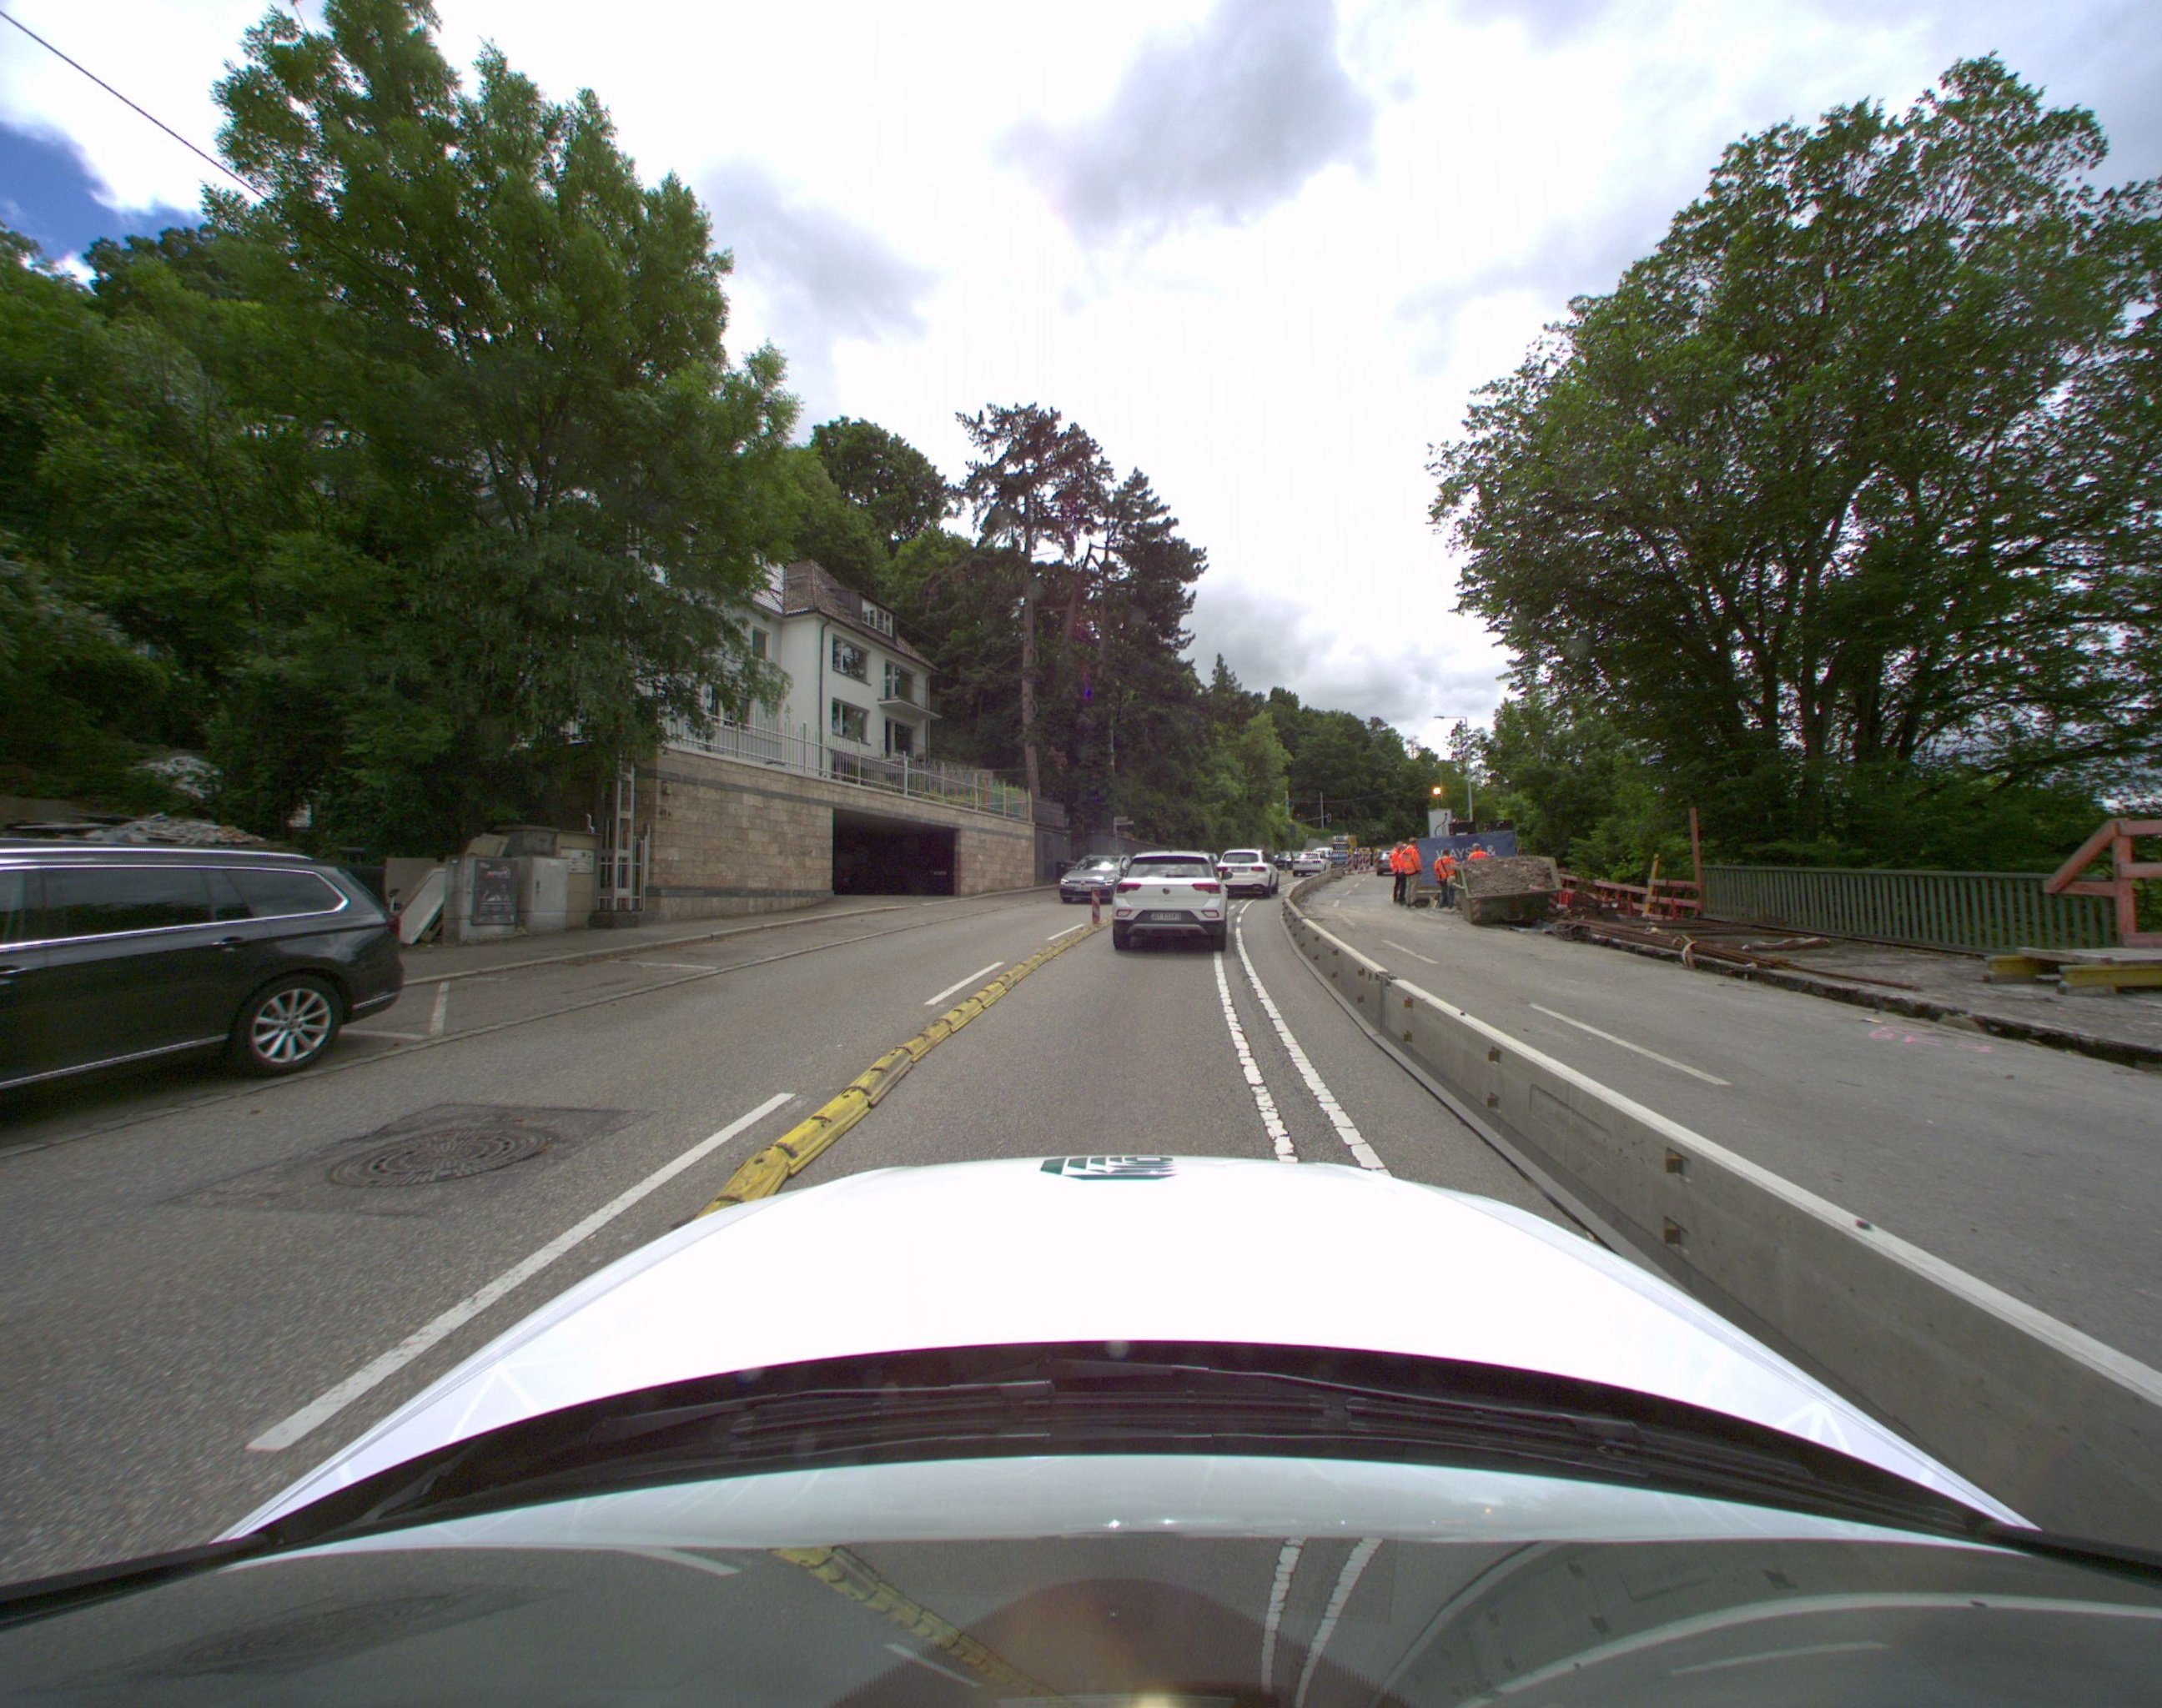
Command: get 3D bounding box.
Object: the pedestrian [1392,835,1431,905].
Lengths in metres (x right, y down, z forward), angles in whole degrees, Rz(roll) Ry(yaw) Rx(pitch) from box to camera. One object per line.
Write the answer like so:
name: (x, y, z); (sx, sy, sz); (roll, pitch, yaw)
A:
pedestrian: (9.155, 0.442, 22.596); (0.689, 1.906, 0.824); (-1, 0, -3)

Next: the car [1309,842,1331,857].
car: (24.567, -0.481, 83.736); (1.752, 1.452, 4.331); (1, 0, 21)

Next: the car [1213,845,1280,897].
car: (5.807, 0.547, 28.306); (1.795, 1.663, 4.019); (-1, 0, 18)

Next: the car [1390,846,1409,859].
car: (33.221, -0.146, 84.906); (1.779, 1.368, 4.021); (-1, 0, 22)

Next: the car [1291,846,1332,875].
car: (13.821, 0.356, 48.728); (1.794, 1.663, 4.022); (-1, 0, 23)

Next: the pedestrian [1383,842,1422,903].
pedestrian: (9.361, 0.534, 23.722); (0.871, 1.731, 0.880); (-1, 0, 9)

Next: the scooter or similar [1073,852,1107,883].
scooter or similar: (0.352, 0.537, 32.528); (1.306, 1.255, 0.466); (0, 0, -6)

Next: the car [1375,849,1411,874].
car: (17.905, 0.428, 46.642); (1.778, 1.368, 4.022); (-1, 0, 23)

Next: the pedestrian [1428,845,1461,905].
pedestrian: (10.055, 0.574, 22.520); (0.775, 1.608, 0.671); (-1, 0, 25)

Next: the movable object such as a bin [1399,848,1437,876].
movable object such as a bin: (17.631, 0.407, 42.684); (1.387, 1.425, 1.910); (0, 0, 6)

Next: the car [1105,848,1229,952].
car: (1.614, 0.675, 14.026); (1.798, 1.531, 4.011); (-1, 0, 10)

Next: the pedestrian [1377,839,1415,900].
pedestrian: (9.551, 0.470, 24.714); (0.871, 1.822, 0.880); (-1, 0, 9)

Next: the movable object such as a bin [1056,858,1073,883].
movable object such as a bin: (-0.685, 0.678, 33.456); (0.544, 0.977, 0.512); (-1, -1, 22)

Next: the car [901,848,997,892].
car: (-4.634, 0.603, 29.168); (1.767, 1.453, 3.720); (0, -2, 20)

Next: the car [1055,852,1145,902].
car: (0.703, 0.664, 25.677); (1.754, 1.435, 4.327); (-1, 0, 16)

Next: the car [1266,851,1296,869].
car: (16.466, 0.470, 66.820); (1.752, 1.452, 4.332); (1, 0, 23)

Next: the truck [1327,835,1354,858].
truck: (38.081, -1.069, 119.403); (2.878, 3.155, 7.626); (-1, -1, 24)

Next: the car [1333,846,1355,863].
car: (27.077, 0.008, 83.891); (1.794, 1.663, 4.022); (-1, 0, 22)

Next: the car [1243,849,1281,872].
car: (12.305, 0.424, 55.165); (1.752, 1.452, 4.332); (1, 0, 23)

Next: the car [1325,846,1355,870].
car: (19.583, 0.280, 61.378); (1.794, 1.663, 4.022); (-1, 0, 22)

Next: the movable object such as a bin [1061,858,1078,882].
movable object such as a bin: (-0.473, 0.679, 33.980); (0.544, 0.977, 0.512); (-1, -1, 22)

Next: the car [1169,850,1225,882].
car: (5.747, 0.540, 39.929); (1.752, 1.435, 4.331); (1, 0, 22)

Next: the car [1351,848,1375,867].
car: (25.570, 0.280, 73.824); (1.794, 1.663, 4.022); (-1, 0, 22)

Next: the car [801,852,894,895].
car: (-8.393, 0.721, 29.593); (1.759, 1.419, 3.556); (1, -2, 11)

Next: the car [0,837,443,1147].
car: (-6.062, 0.656, 4.070); (1.728, 1.451, 4.689); (3, 0, 5)

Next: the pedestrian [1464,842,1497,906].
pedestrian: (10.755, 0.520, 21.956); (0.775, 1.688, 0.790); (-1, 0, 25)
